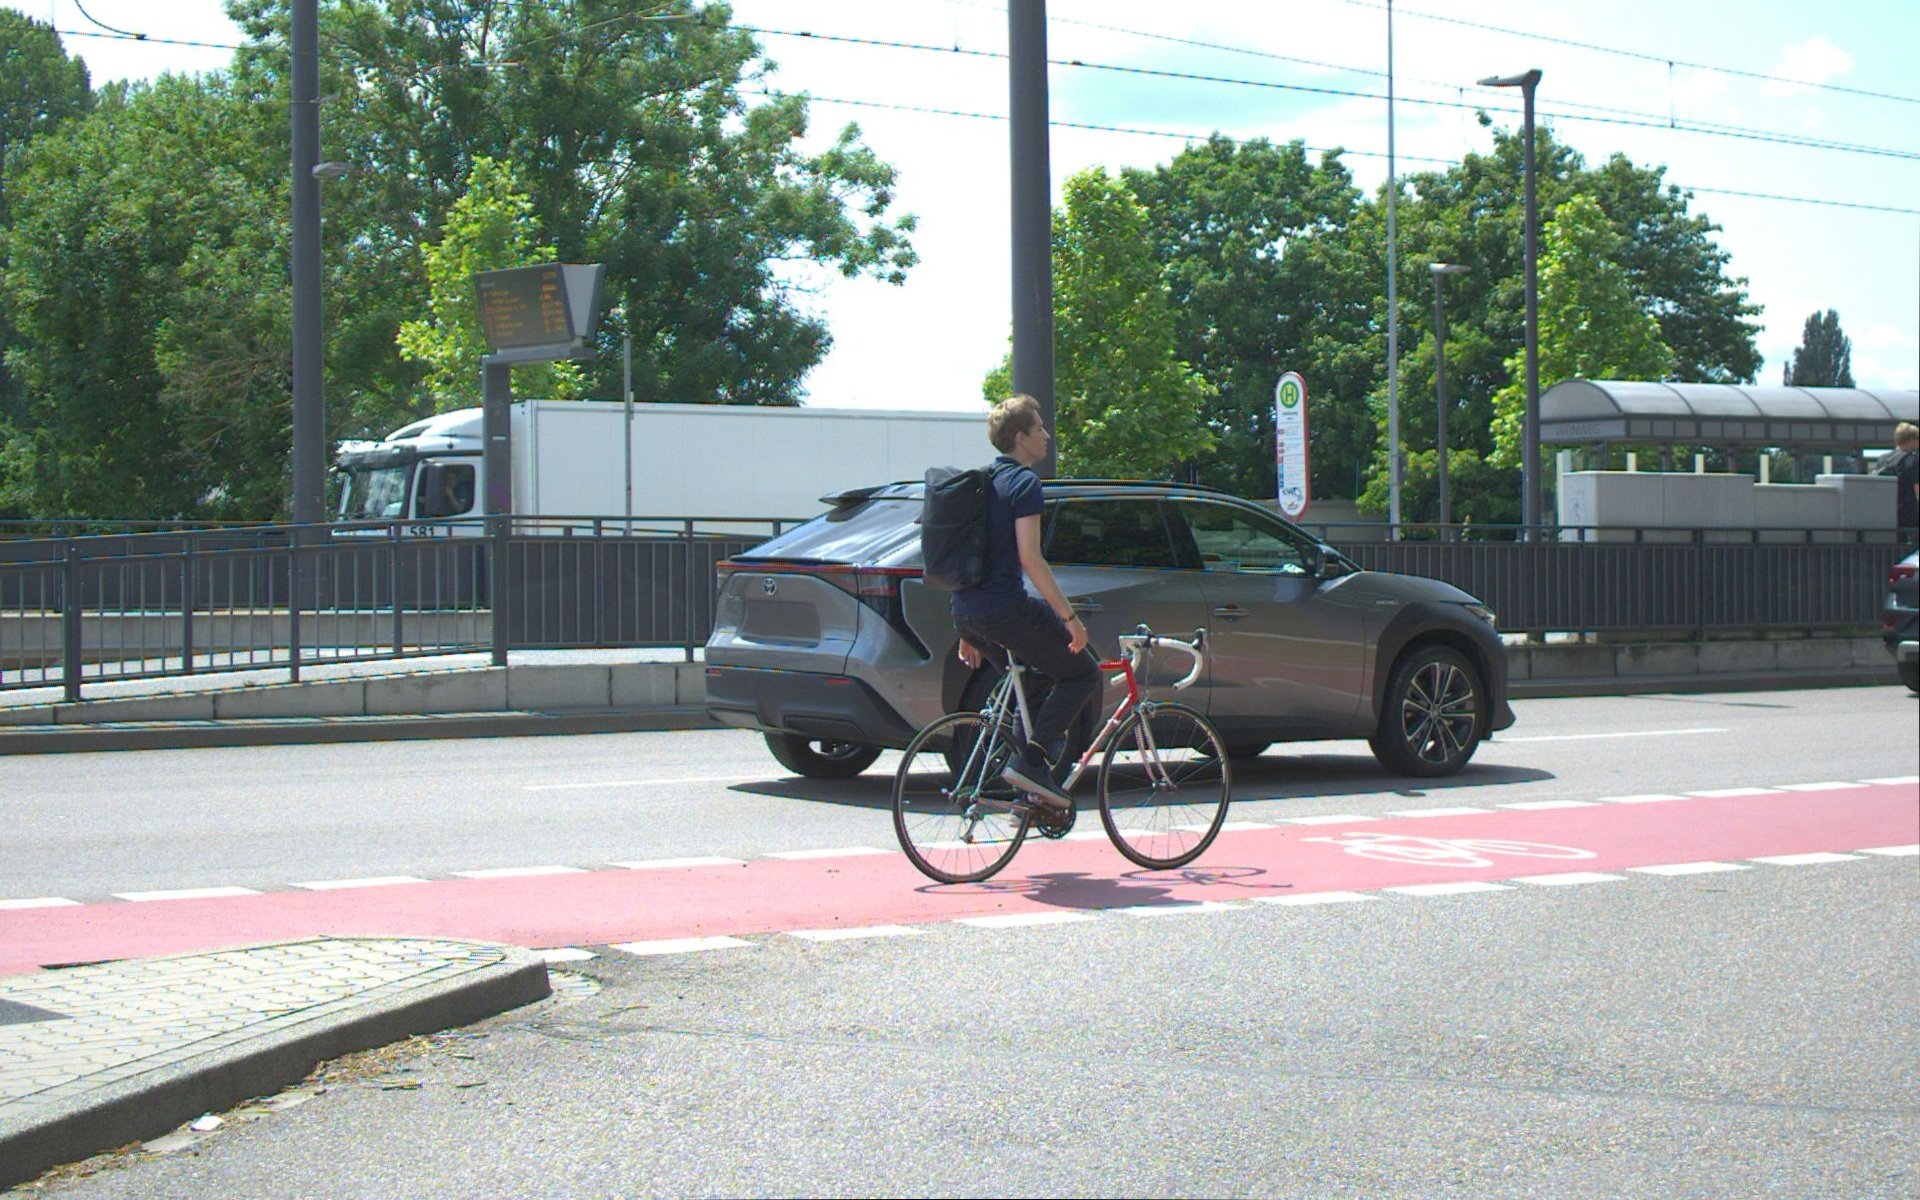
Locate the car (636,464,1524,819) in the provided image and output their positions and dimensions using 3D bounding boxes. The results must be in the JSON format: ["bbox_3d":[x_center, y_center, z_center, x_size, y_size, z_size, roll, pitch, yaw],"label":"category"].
[{"bbox_3d":[0.712,0.146,18.257,4.506,1.669,1.904,-1,2,-36],"label":"car"}]

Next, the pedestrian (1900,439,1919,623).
[{"bbox_3d":[10.131,-0.715,35.069,0.873,1.865,0.677,-1,2,-4],"label":"pedestrian"}]

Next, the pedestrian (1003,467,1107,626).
[{"bbox_3d":[1.086,-0.618,39.336,0.927,1.801,0.736,-1,2,-36],"label":"pedestrian"}]

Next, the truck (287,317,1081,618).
[{"bbox_3d":[-3.874,-1.925,51.381,11.959,4.090,2.952,-1,2,-35],"label":"truck"}]

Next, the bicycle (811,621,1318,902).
[{"bbox_3d":[0.436,0.602,13.556,2.017,0.995,0.622,0,2,-36],"label":"bicycle"}]

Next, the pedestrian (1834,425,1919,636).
[{"bbox_3d":[8.851,-0.665,32.180,0.991,1.932,0.876,-2,2,-37],"label":"pedestrian"}]

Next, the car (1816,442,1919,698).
[{"bbox_3d":[9.189,-0.238,27.876,4.349,1.982,2.000,0,1,-36],"label":"car"}]

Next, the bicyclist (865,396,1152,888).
[{"bbox_3d":[0.189,0.143,13.361,0.921,1.840,0.611,-1,2,-36],"label":"bicyclist"}]
